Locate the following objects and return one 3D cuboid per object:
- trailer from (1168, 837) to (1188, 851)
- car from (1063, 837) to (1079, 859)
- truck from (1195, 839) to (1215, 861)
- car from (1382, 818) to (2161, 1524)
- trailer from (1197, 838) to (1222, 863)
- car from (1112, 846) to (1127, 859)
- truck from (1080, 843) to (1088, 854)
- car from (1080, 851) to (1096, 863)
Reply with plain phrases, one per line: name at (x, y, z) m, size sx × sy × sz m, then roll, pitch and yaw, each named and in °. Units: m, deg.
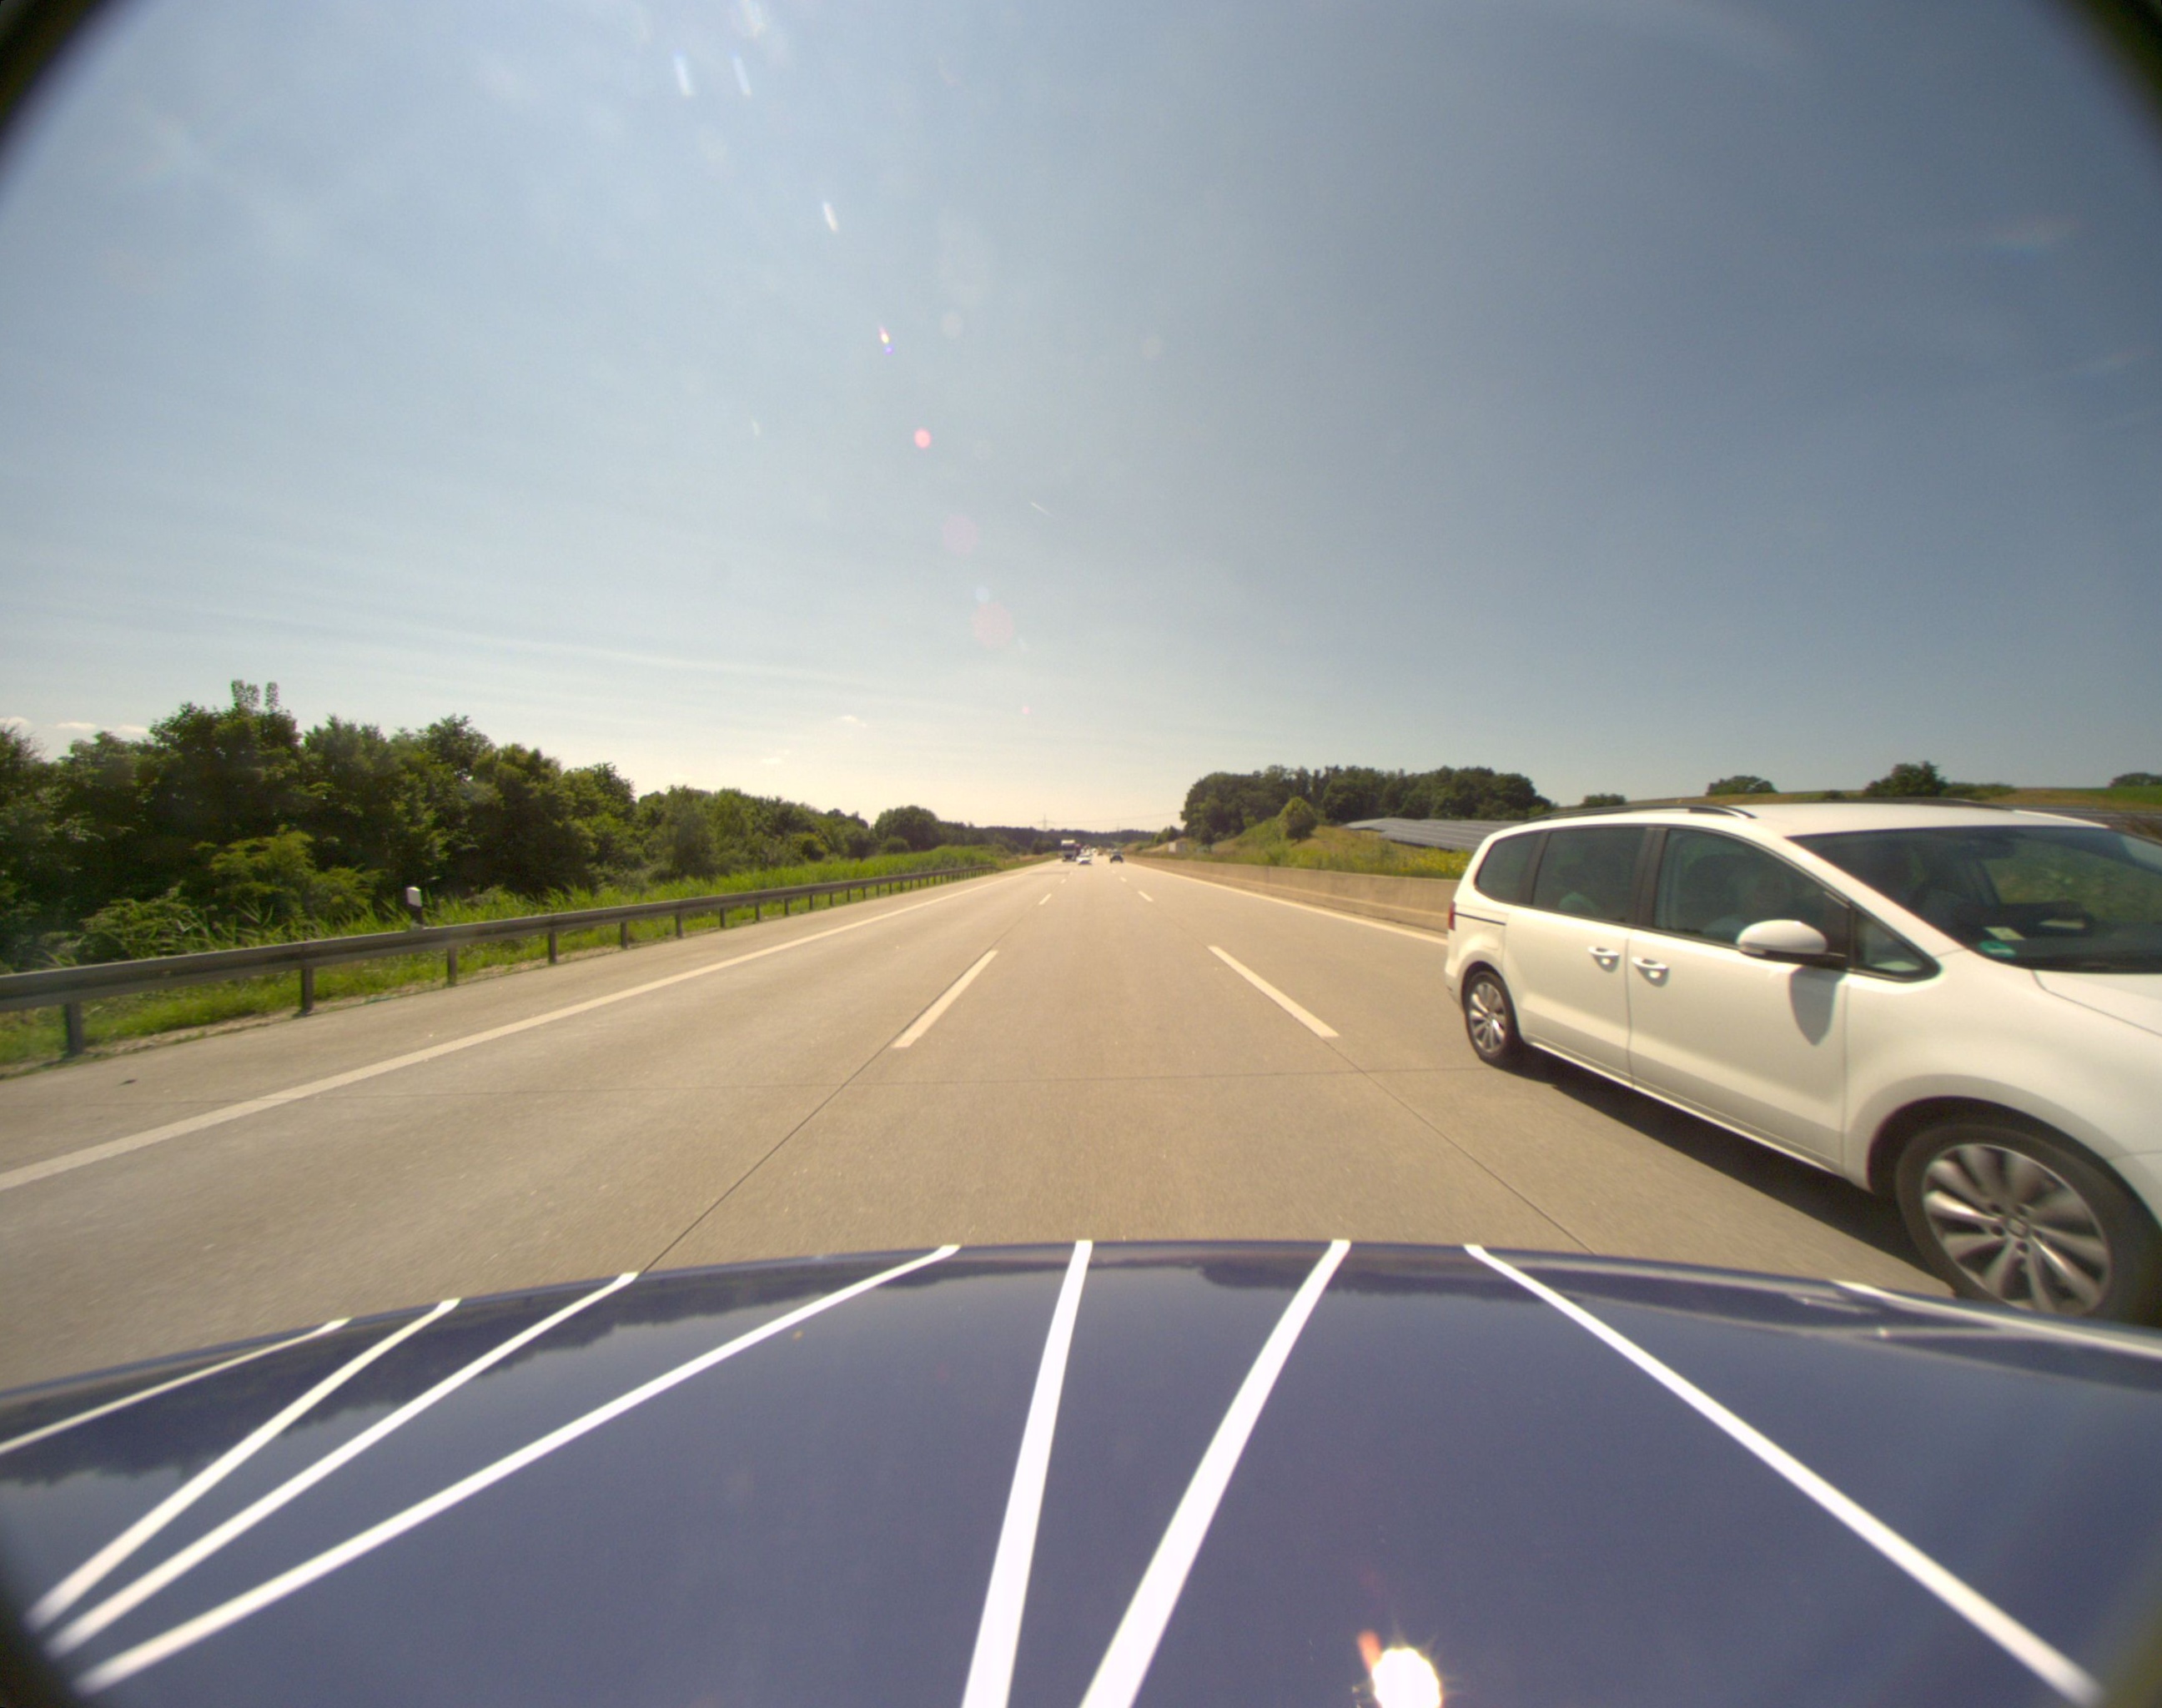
trailer at (23.076, -2.334, 181.037) m, size 2.839 × 3.165 × 14.504 m, roll -3°, pitch 1°, yaw 1°
car at (-1.889, -1.116, 147.492) m, size 2.766 × 4.029 × 10.852 m, roll -1°, pitch 1°, yaw 1°
truck at (22.956, -0.690, 140.835) m, size 2.752 × 3.928 × 4.352 m, roll -2°, pitch 1°, yaw 1°
car at (3.565, 0.730, 3.693) m, size 1.850 × 1.698 × 6.035 m, roll -2°, pitch 1°, yaw 1°
trailer at (22.867, -0.599, 135.659) m, size 2.739 × 4.167 × 10.256 m, roll -2°, pitch 0°, yaw 1°
car at (5.895, -0.192, 116.559) m, size 1.998 × 1.836 × 6.529 m, roll -3°, pitch 1°, yaw 1°
truck at (0.904, -1.704, 237.430) m, size 2.351 × 3.474 × 5.245 m, roll -1°, pitch 1°, yaw 0°
car at (0.920, 0.404, 104.503) m, size 2.065 × 1.472 × 5.068 m, roll -2°, pitch 1°, yaw 0°
